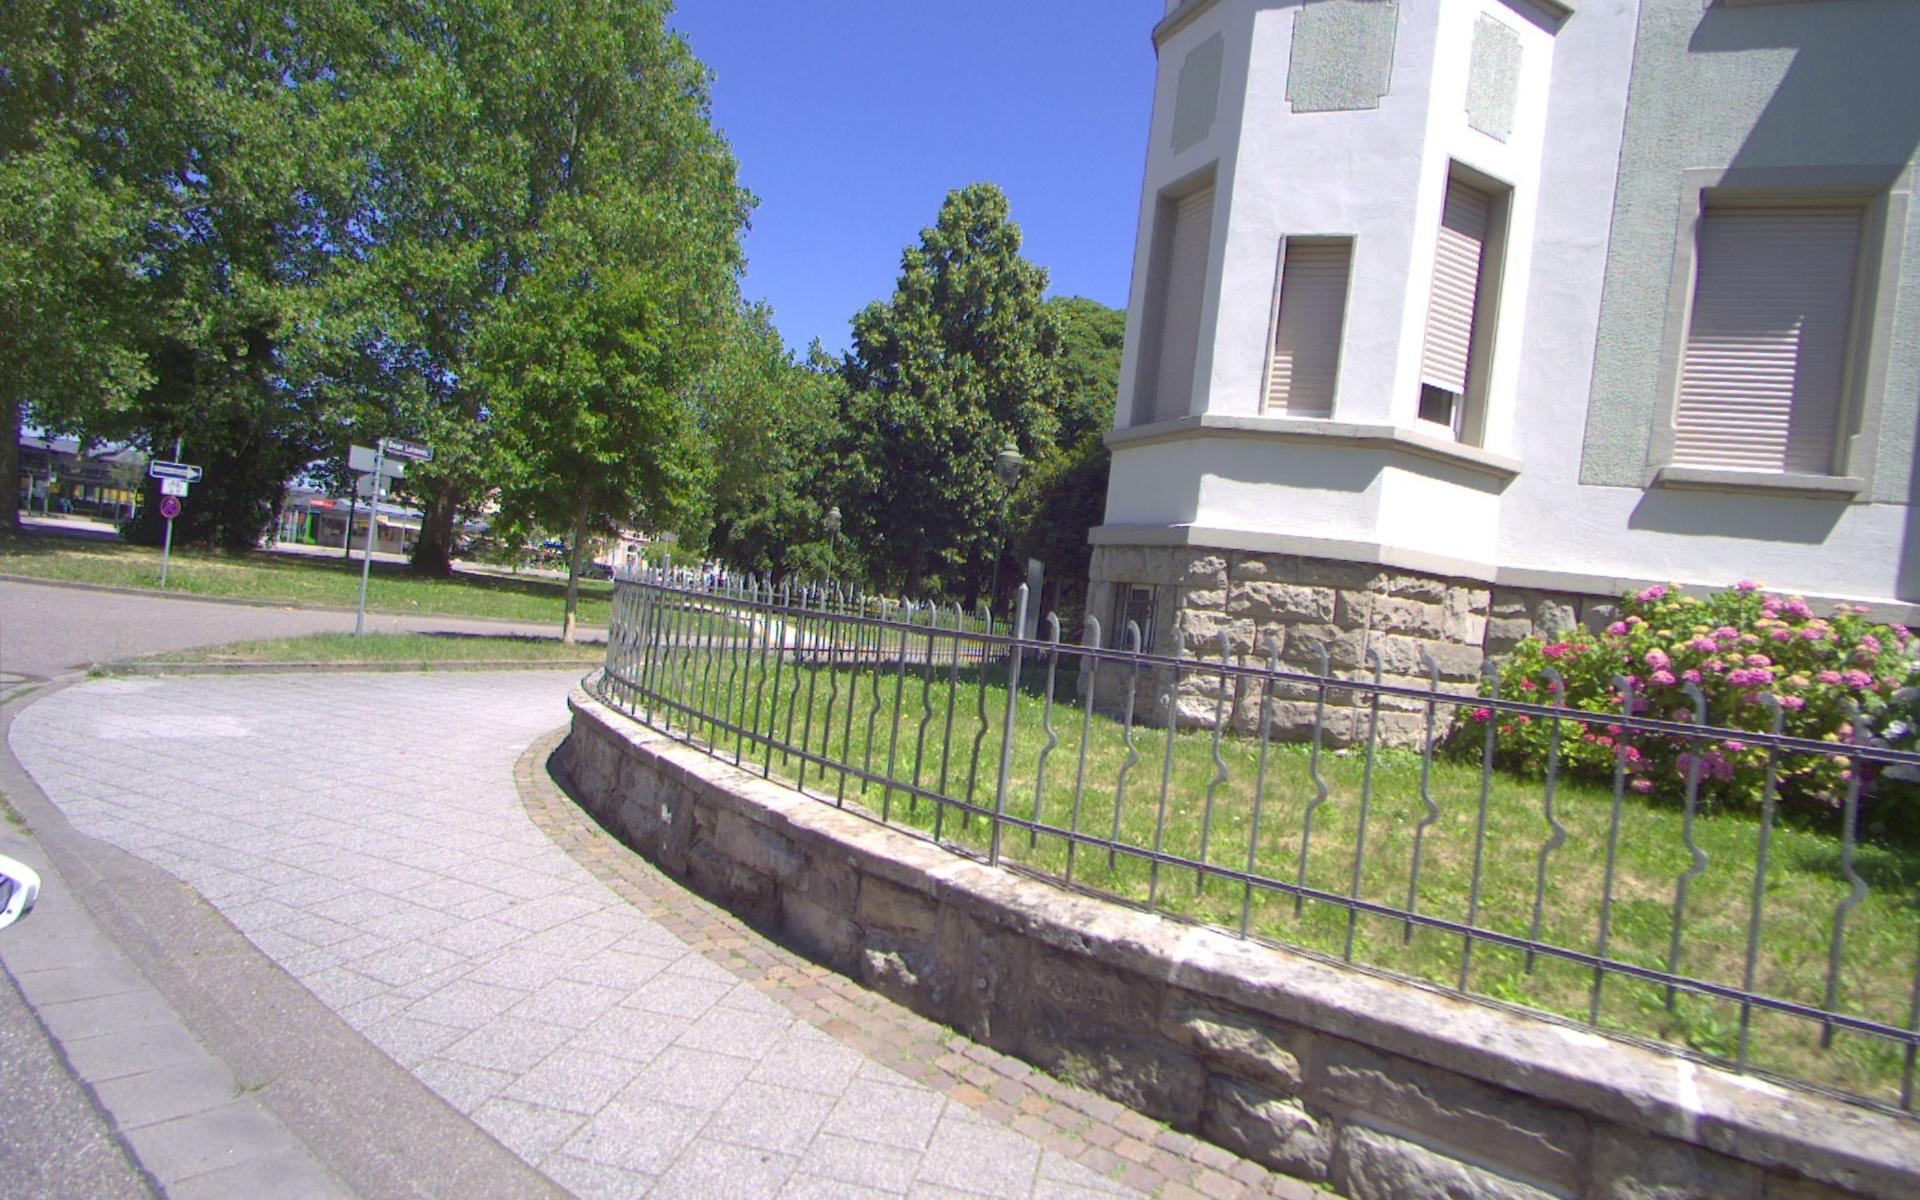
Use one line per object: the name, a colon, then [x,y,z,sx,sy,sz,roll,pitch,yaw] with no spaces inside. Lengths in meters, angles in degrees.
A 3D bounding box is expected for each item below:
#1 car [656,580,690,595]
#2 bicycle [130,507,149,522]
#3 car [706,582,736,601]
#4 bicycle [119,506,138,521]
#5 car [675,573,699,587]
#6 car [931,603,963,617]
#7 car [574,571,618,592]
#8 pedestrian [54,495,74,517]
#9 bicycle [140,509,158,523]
car: [-31.388,-1.365,110.107,1.786,1.462,4.159,3,0,11]
bicycle: [-70.711,-7.359,86.659,1.359,1.106,0.387,7,-1,11]
car: [-22.537,-0.816,95.034,1.692,1.496,3.707,6,-1,2]
bicycle: [-72.083,-7.510,87.162,1.359,1.106,0.387,7,-1,10]
car: [-44.738,-3.276,164.945,1.723,1.940,4.779,7,-1,10]
car: [-1.833,1.389,140.064,4.040,1.484,2.001,7,0,7]
car: [-34.431,-1.732,95.260,1.691,1.496,4.789,6,-1,9]
pedestrian: [-65.835,-6.892,73.921,0.595,1.482,0.822,7,1,7]
bicycle: [-70.671,-7.312,87.644,1.359,1.106,0.386,7,-1,12]
